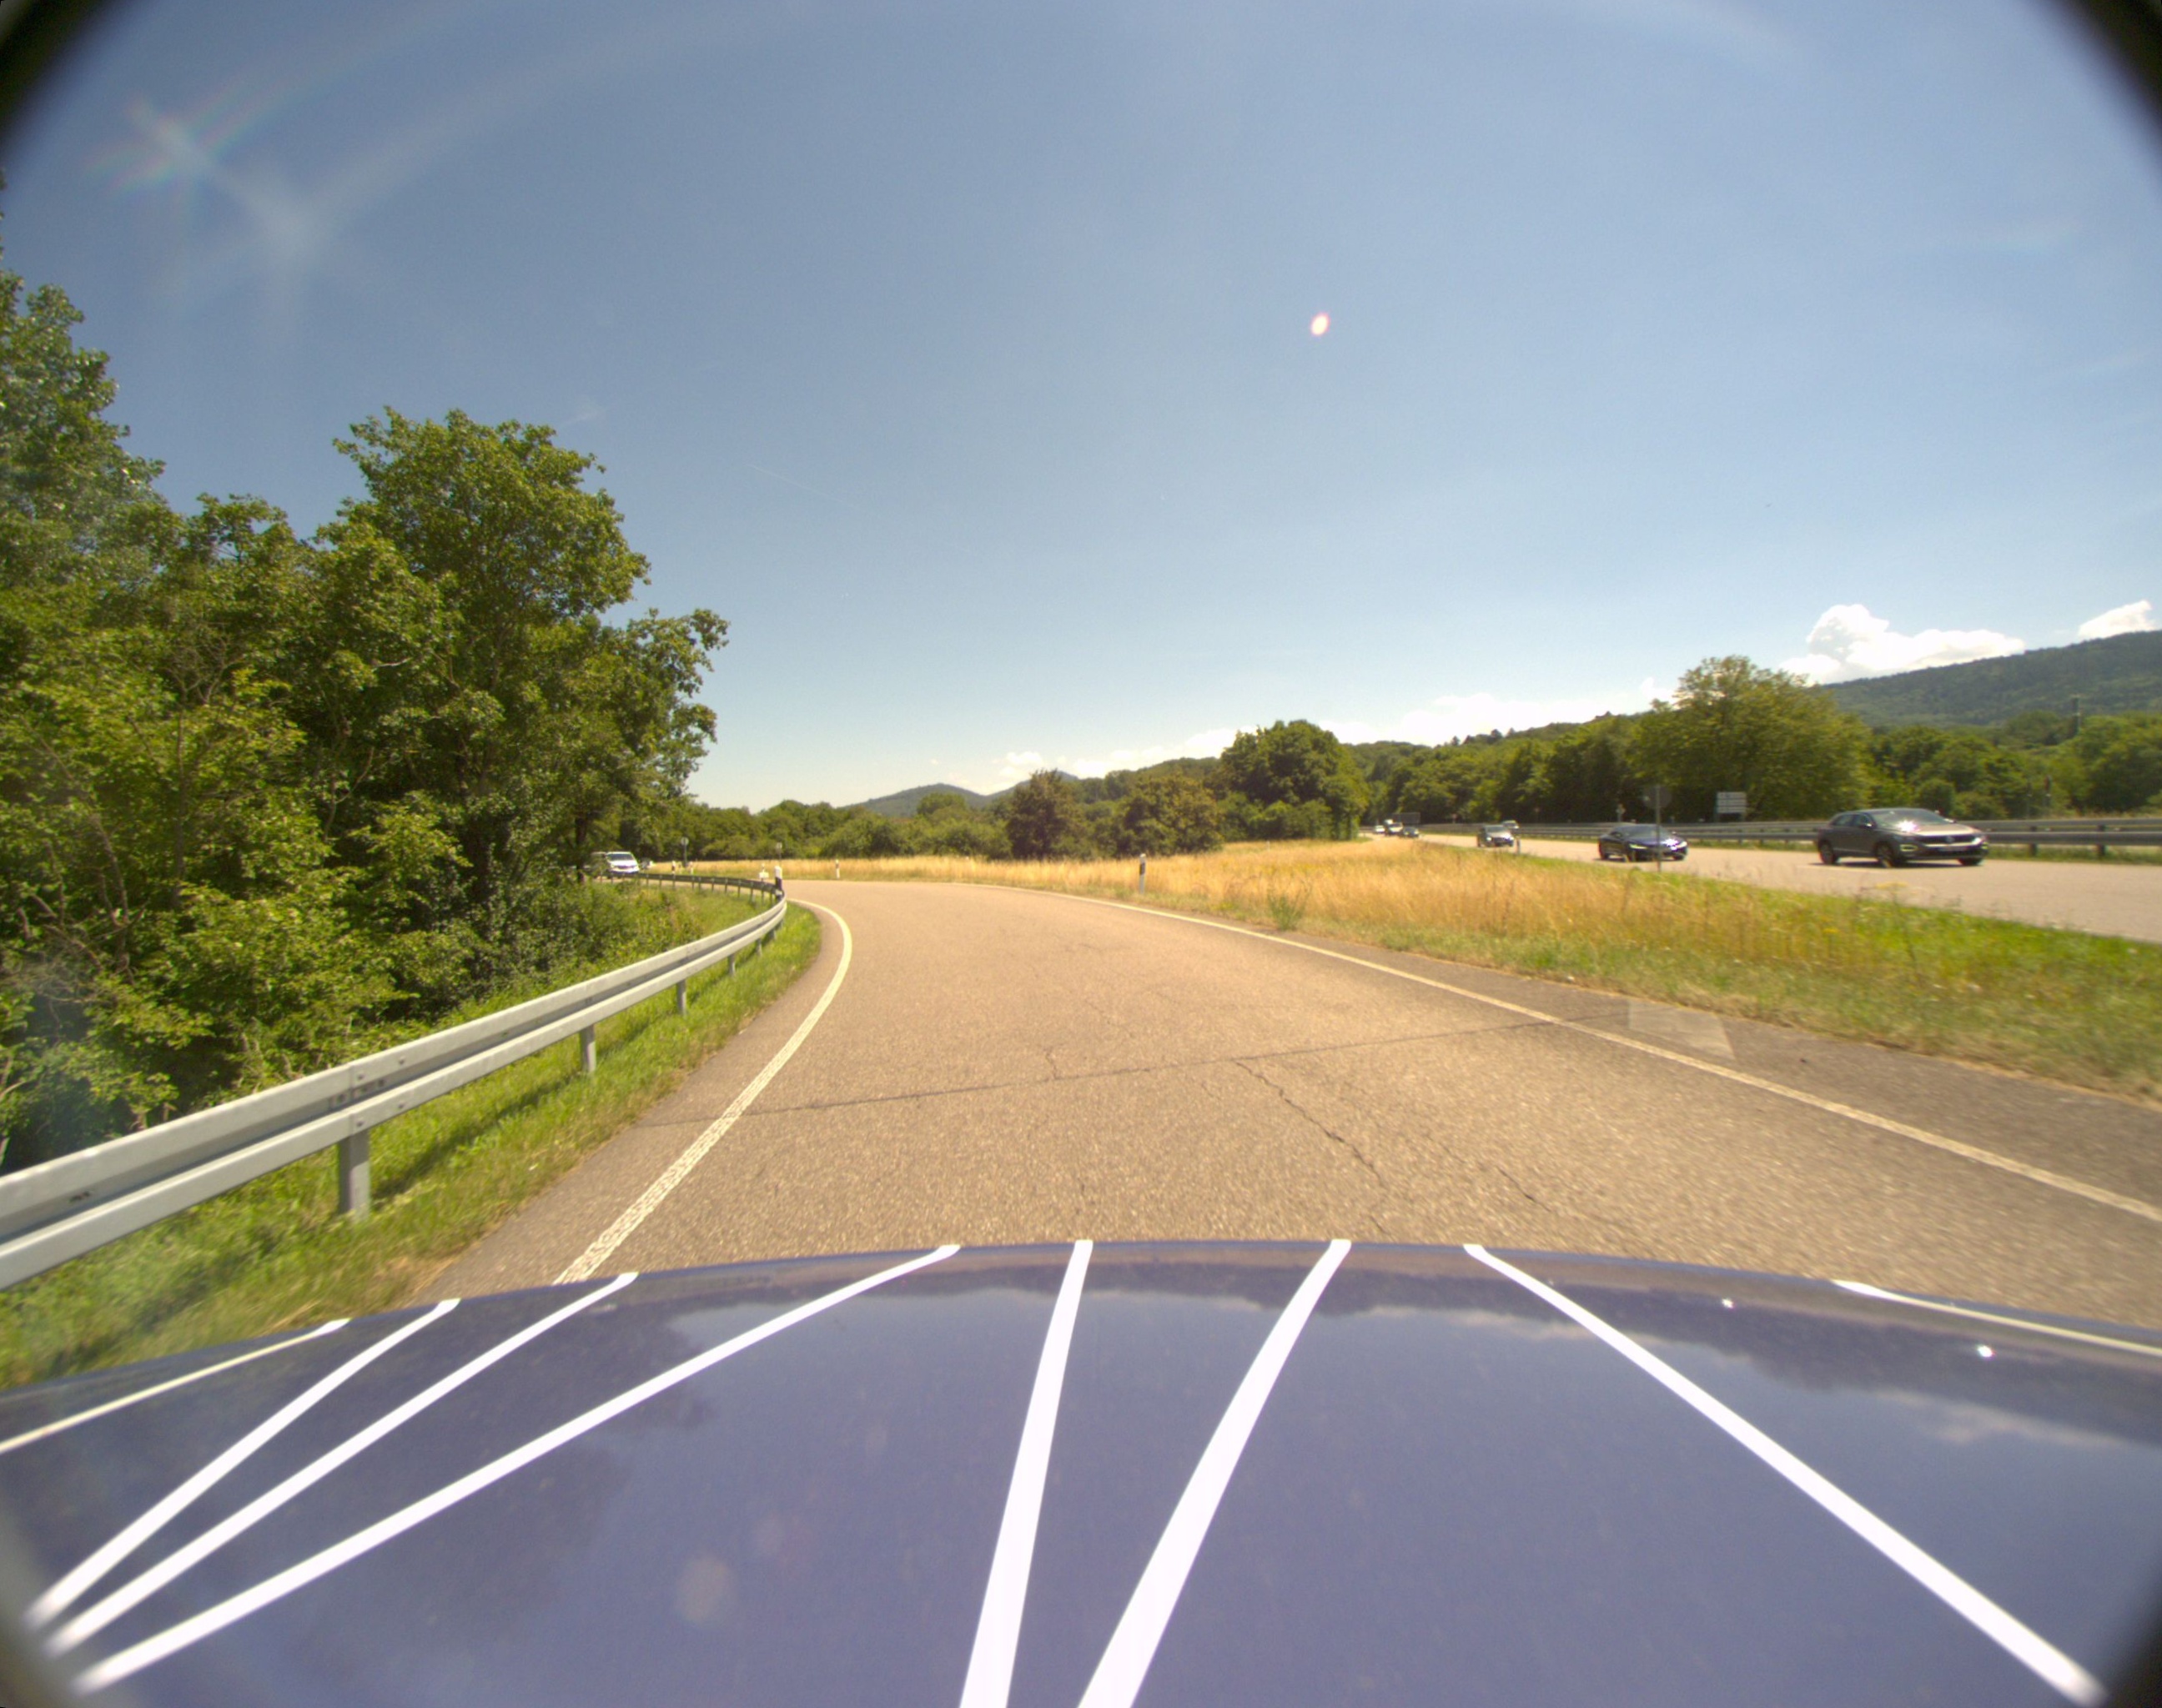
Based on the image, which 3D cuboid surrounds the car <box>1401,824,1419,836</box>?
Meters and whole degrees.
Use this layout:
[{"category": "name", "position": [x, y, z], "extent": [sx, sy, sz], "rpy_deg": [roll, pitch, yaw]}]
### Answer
[{"category": "car", "position": [41.554, -3.080, 96.010], "extent": [1.843, 1.400, 4.475], "rpy_deg": [-3, 1, 20]}]

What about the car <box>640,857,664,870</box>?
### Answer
[{"category": "car", "position": [-69.260, 1.471, 122.659], "extent": [2.000, 2.002, 4.440], "rpy_deg": [-1, 0, -11]}]

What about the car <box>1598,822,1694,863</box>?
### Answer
[{"category": "car", "position": [21.994, -0.470, 29.787], "extent": [1.843, 1.399, 4.476], "rpy_deg": [-3, 0, 21]}]

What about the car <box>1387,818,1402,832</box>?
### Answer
[{"category": "car", "position": [47.451, -4.345, 115.009], "extent": [2.005, 1.988, 4.584], "rpy_deg": [-3, 1, 21]}]

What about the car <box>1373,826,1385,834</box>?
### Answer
[{"category": "car", "position": [54.271, -4.431, 138.385], "extent": [1.669, 1.276, 4.003], "rpy_deg": [-2, 2, 16]}]

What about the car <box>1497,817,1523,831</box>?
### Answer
[{"category": "car", "position": [57.326, -4.049, 101.608], "extent": [1.933, 1.741, 4.916], "rpy_deg": [-2, 2, 15]}]

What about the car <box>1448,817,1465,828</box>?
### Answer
[{"category": "car", "position": [69.431, -5.911, 140.614], "extent": [1.996, 1.882, 4.916], "rpy_deg": [-2, 2, 16]}]

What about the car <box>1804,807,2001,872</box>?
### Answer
[{"category": "car", "position": [22.244, -0.390, 20.869], "extent": [1.843, 1.521, 4.476], "rpy_deg": [-3, 0, 21]}]

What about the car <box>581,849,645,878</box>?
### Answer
[{"category": "car", "position": [-33.774, 0.698, 54.811], "extent": [4.432, 2.002, 2.004], "rpy_deg": [-1, 0, 29]}]

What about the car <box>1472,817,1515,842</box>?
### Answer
[{"category": "car", "position": [29.887, -1.776, 55.162], "extent": [1.795, 1.658, 4.559], "rpy_deg": [-2, 1, 17]}]
